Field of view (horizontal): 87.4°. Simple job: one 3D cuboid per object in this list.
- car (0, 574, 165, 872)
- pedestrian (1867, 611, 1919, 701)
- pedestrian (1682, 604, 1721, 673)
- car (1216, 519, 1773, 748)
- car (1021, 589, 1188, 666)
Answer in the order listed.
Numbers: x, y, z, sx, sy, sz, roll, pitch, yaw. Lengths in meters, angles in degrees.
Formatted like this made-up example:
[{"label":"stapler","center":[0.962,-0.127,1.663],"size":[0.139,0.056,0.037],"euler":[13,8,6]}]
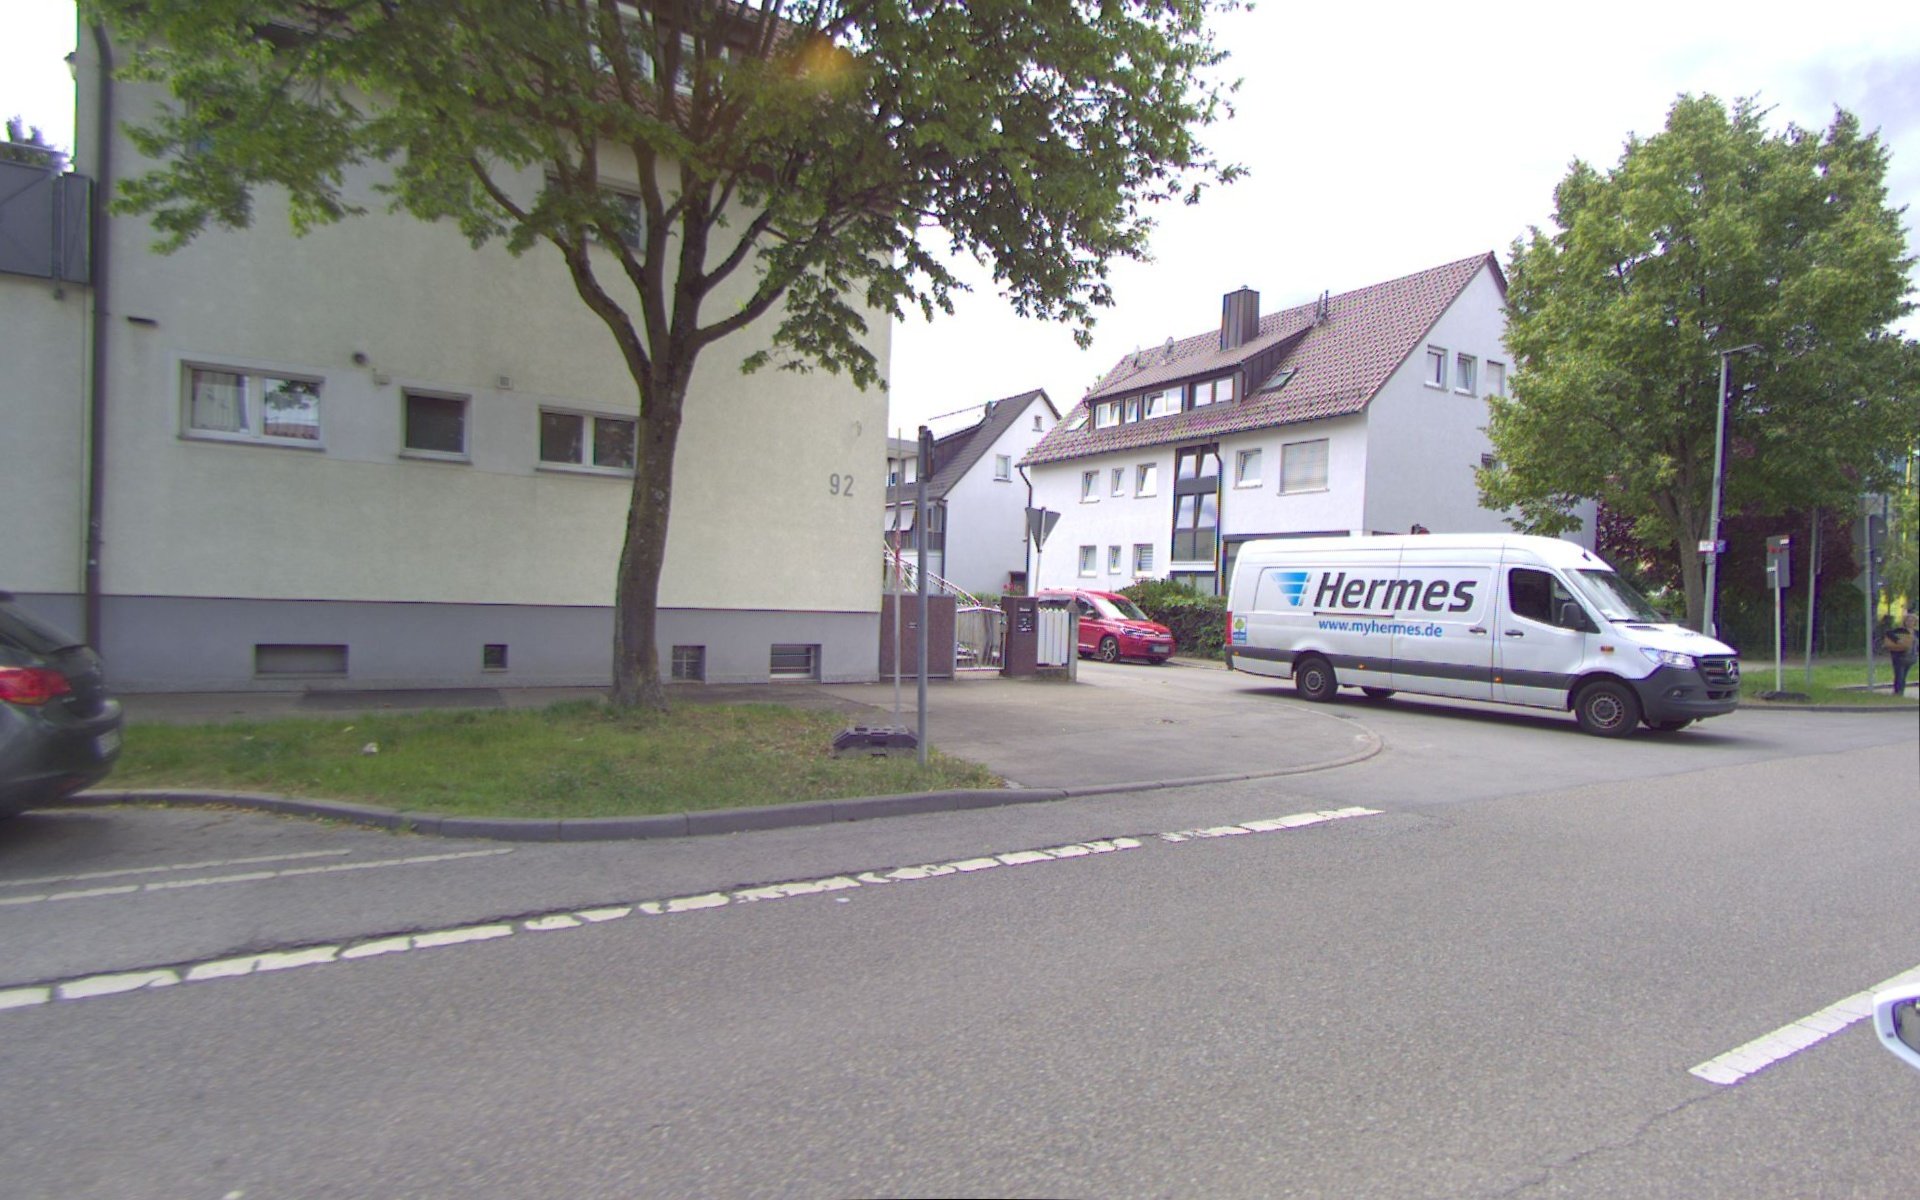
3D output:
[{"label":"car","center":[-6.736,0.581,4.884],"size":[4.250,1.488,1.723],"euler":[1,0,-30]},{"label":"pedestrian","center":[18.318,1.079,19.630],"size":[0.739,1.704,0.541],"euler":[0,3,-23]},{"label":"pedestrian","center":[17.354,0.893,23.511],"size":[0.797,1.572,0.428],"euler":[1,1,-31]},{"label":"car","center":[7.411,0.343,15.182],"size":[2.197,2.629,7.244],"euler":[1,0,-34]},{"label":"car","center":[3.654,0.658,26.131],"size":[1.853,1.801,4.321],"euler":[3,-1,-34]}]
